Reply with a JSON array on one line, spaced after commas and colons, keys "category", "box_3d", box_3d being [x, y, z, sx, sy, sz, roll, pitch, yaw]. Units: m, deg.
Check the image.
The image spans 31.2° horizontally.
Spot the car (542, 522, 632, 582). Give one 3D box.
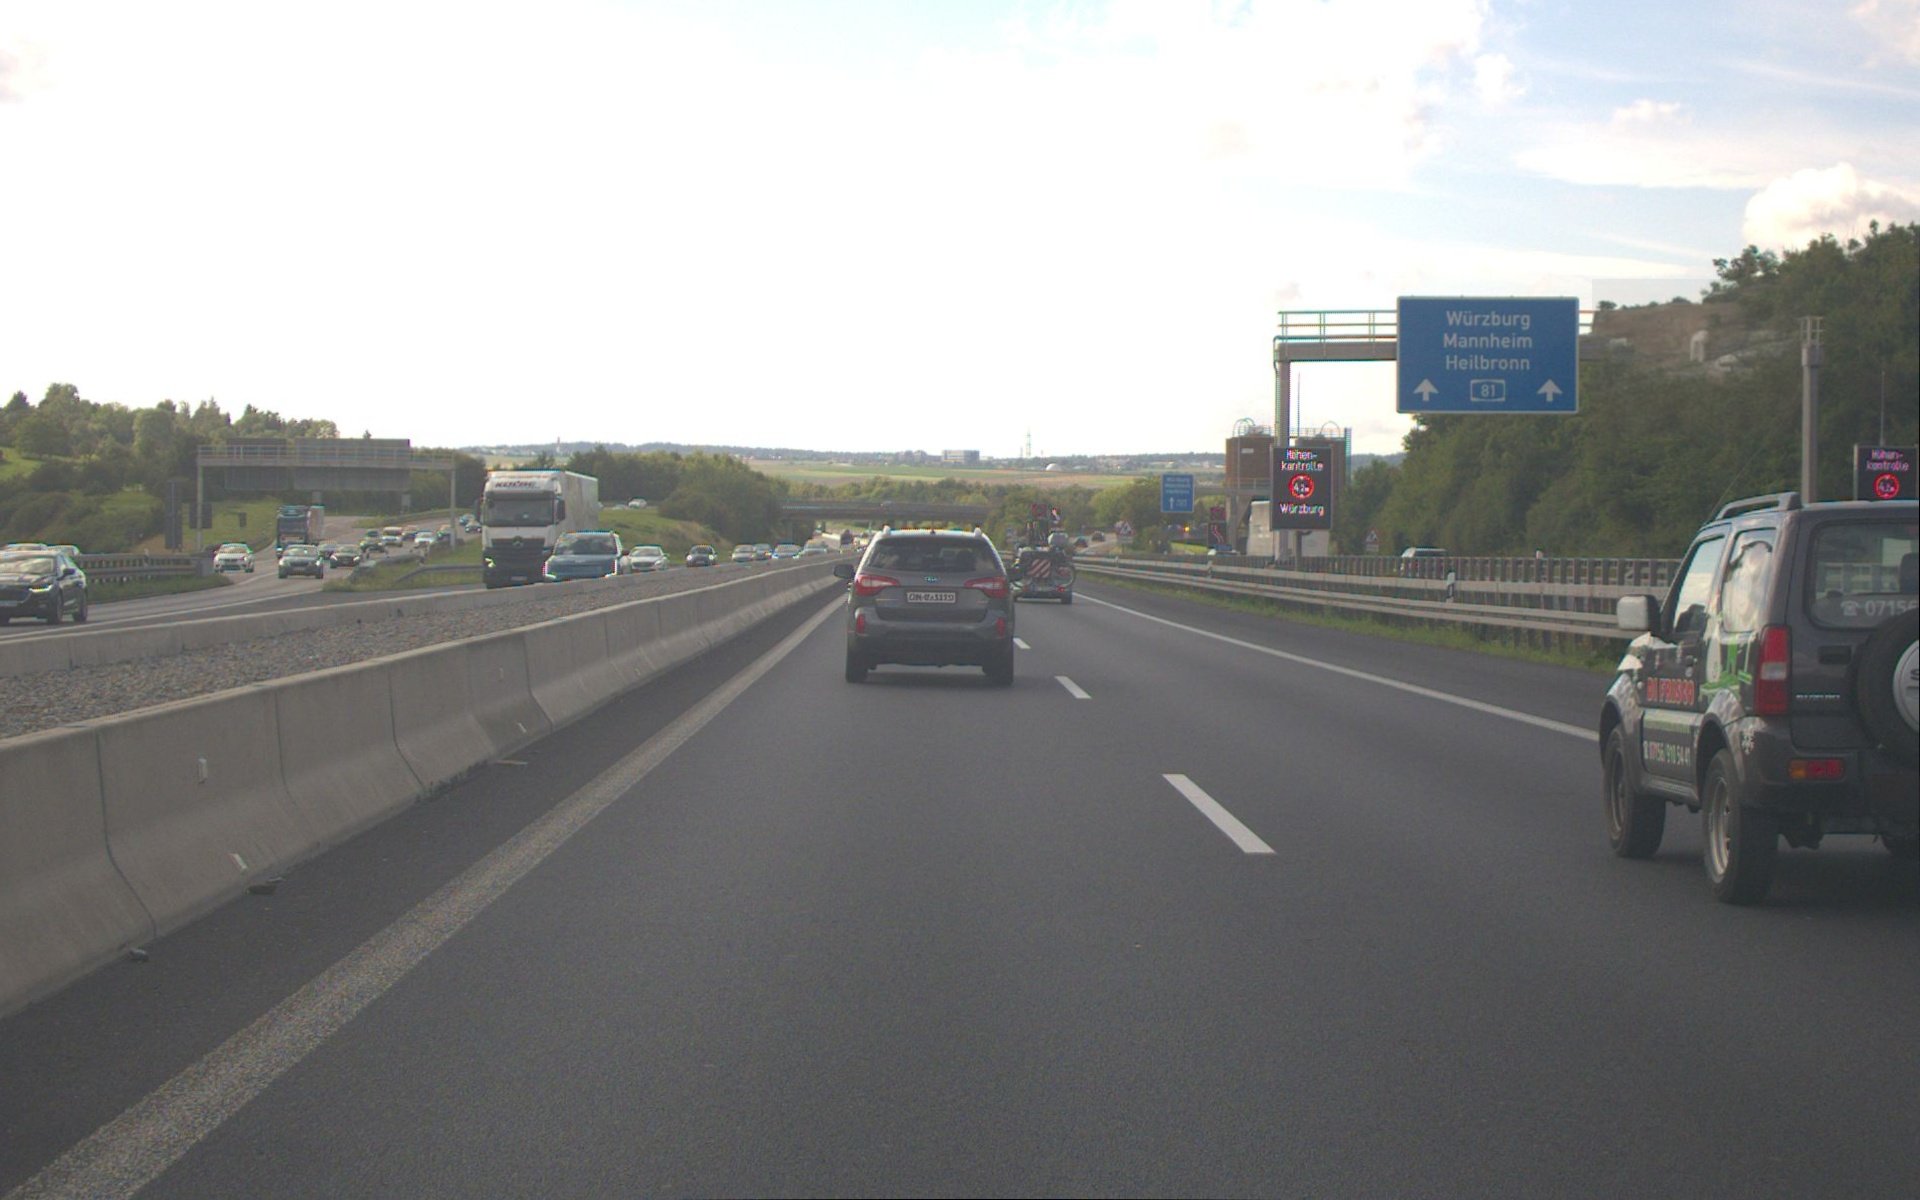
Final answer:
[{"category": "car", "box_3d": [-9.594, -1.237, 88.829, 1.847, 1.489, 4.973, 0, 1, -1]}]

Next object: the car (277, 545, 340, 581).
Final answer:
[{"category": "car", "box_3d": [-27.978, -1.597, 147.744, 1.942, 1.489, 4.128, 0, 1, -1]}]

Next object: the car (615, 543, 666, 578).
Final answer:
[{"category": "car", "box_3d": [-14.973, -1.859, 161.463, 1.993, 1.612, 5.003, 0, 1, -1]}]

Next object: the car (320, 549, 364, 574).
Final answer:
[{"category": "car", "box_3d": [-36.910, -2.300, 205.534, 1.942, 1.489, 4.128, 0, 1, -1]}]

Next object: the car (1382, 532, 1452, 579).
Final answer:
[{"category": "car", "box_3d": [16.871, -1.653, 127.092, 1.993, 1.711, 4.000, 0, 1, -1]}]

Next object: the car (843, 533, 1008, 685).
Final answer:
[{"category": "car", "box_3d": [-0.352, 0.073, 38.558, 1.750, 1.625, 3.609, 0, 1, 1]}]

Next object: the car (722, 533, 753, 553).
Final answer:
[{"category": "car", "box_3d": [-16.093, -4.132, 249.005, 1.993, 1.451, 4.181, 0, 1, -1]}]

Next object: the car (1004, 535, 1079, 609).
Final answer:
[{"category": "car", "box_3d": [2.305, -0.808, 98.018, 1.993, 2.073, 4.000, 0, 1, -1]}]

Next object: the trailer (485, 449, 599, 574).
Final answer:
[{"category": "trailer", "box_3d": [-14.527, -3.014, 120.378, 2.488, 4.115, 13.284, 0, 1, -1]}]

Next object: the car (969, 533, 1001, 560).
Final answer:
[{"category": "car", "box_3d": [1.652, -3.524, 227.213, 1.975, 1.773, 4.120, 0, 1, -1]}]

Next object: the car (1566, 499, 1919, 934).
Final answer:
[{"category": "car", "box_3d": [3.986, 0.444, 15.805, 1.666, 1.726, 4.207, 1, 1, 1]}]

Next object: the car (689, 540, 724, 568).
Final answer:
[{"category": "car", "box_3d": [-15.155, -2.738, 205.424, 1.801, 1.612, 4.302, 0, 1, -1]}]

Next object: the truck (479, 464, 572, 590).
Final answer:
[{"category": "truck", "box_3d": [-14.475, -2.420, 114.821, 2.488, 4.115, 5.299, 0, 1, -1]}]

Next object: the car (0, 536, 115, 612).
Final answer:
[{"category": "car", "box_3d": [-18.826, -0.544, 70.070, 1.942, 1.489, 5.307, 0, 1, -1]}]

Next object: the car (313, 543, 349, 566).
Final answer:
[{"category": "car", "box_3d": [-44.586, -3.248, 243.627, 1.801, 1.612, 4.302, 0, 1, -1]}]

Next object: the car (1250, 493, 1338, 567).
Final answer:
[{"category": "car", "box_3d": [16.847, -3.528, 173.883, 3.576, 3.664, 7.549, 0, 1, -1]}]
